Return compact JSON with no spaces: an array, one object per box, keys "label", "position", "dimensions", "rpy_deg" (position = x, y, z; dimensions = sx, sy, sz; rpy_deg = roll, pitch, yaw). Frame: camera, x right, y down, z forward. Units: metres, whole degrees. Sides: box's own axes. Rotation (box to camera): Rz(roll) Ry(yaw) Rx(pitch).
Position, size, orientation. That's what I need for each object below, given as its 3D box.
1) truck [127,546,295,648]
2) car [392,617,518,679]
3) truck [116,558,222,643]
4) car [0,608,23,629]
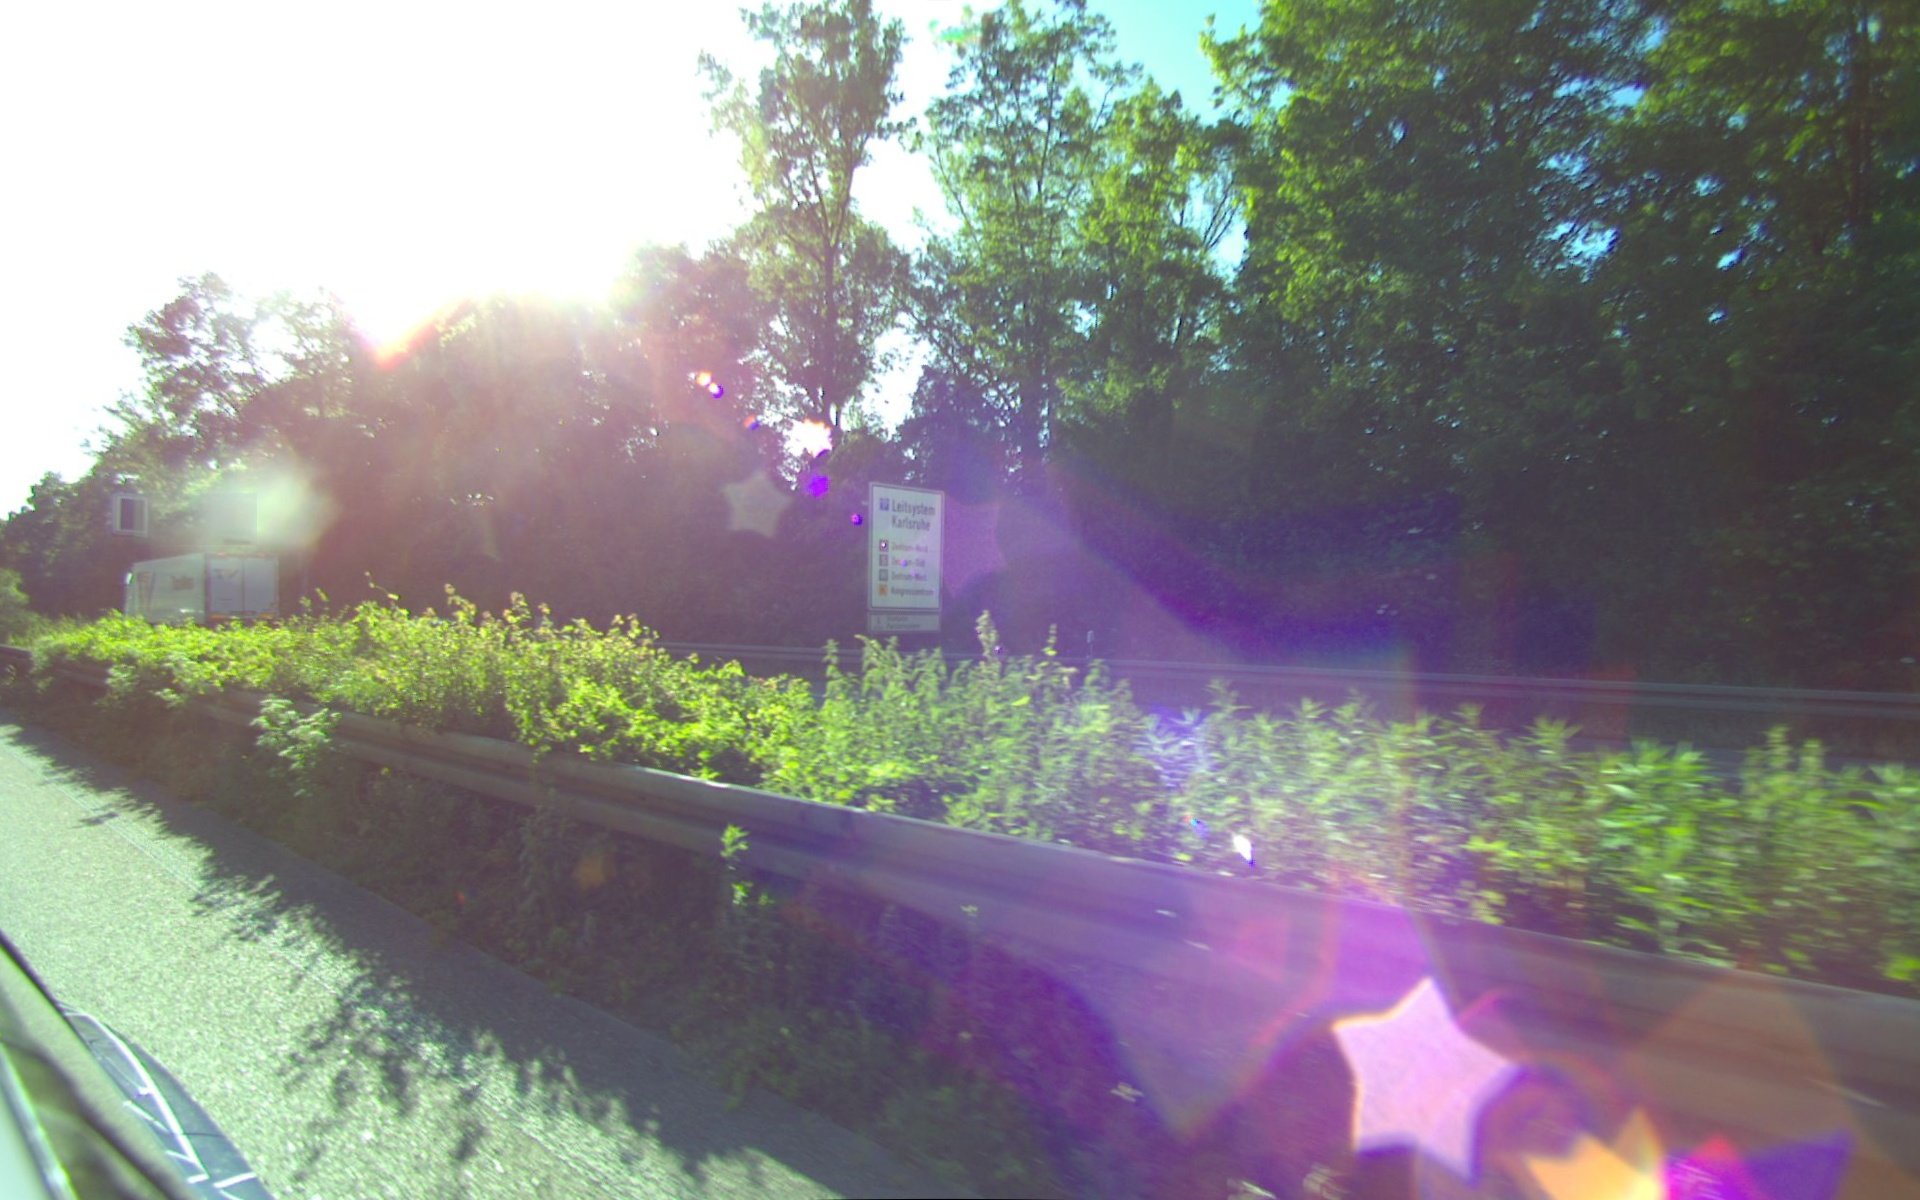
[{"label":"truck","position":[-34.473,-0.038,46.175],"dimensions":[14.444,4.043,3.210],"rpy_deg":[-1,0,41]},{"label":"car","position":[-13.618,1.238,27.222],"dimensions":[3.790,1.484,1.745],"rpy_deg":[0,0,41]},{"label":"truck","position":[-39.769,0.046,50.846],"dimensions":[5.674,4.043,3.195],"rpy_deg":[-1,0,41]},{"label":"car","position":[-84.863,1.623,90.086],"dimensions":[4.524,1.824,1.699],"rpy_deg":[0,0,41]}]
